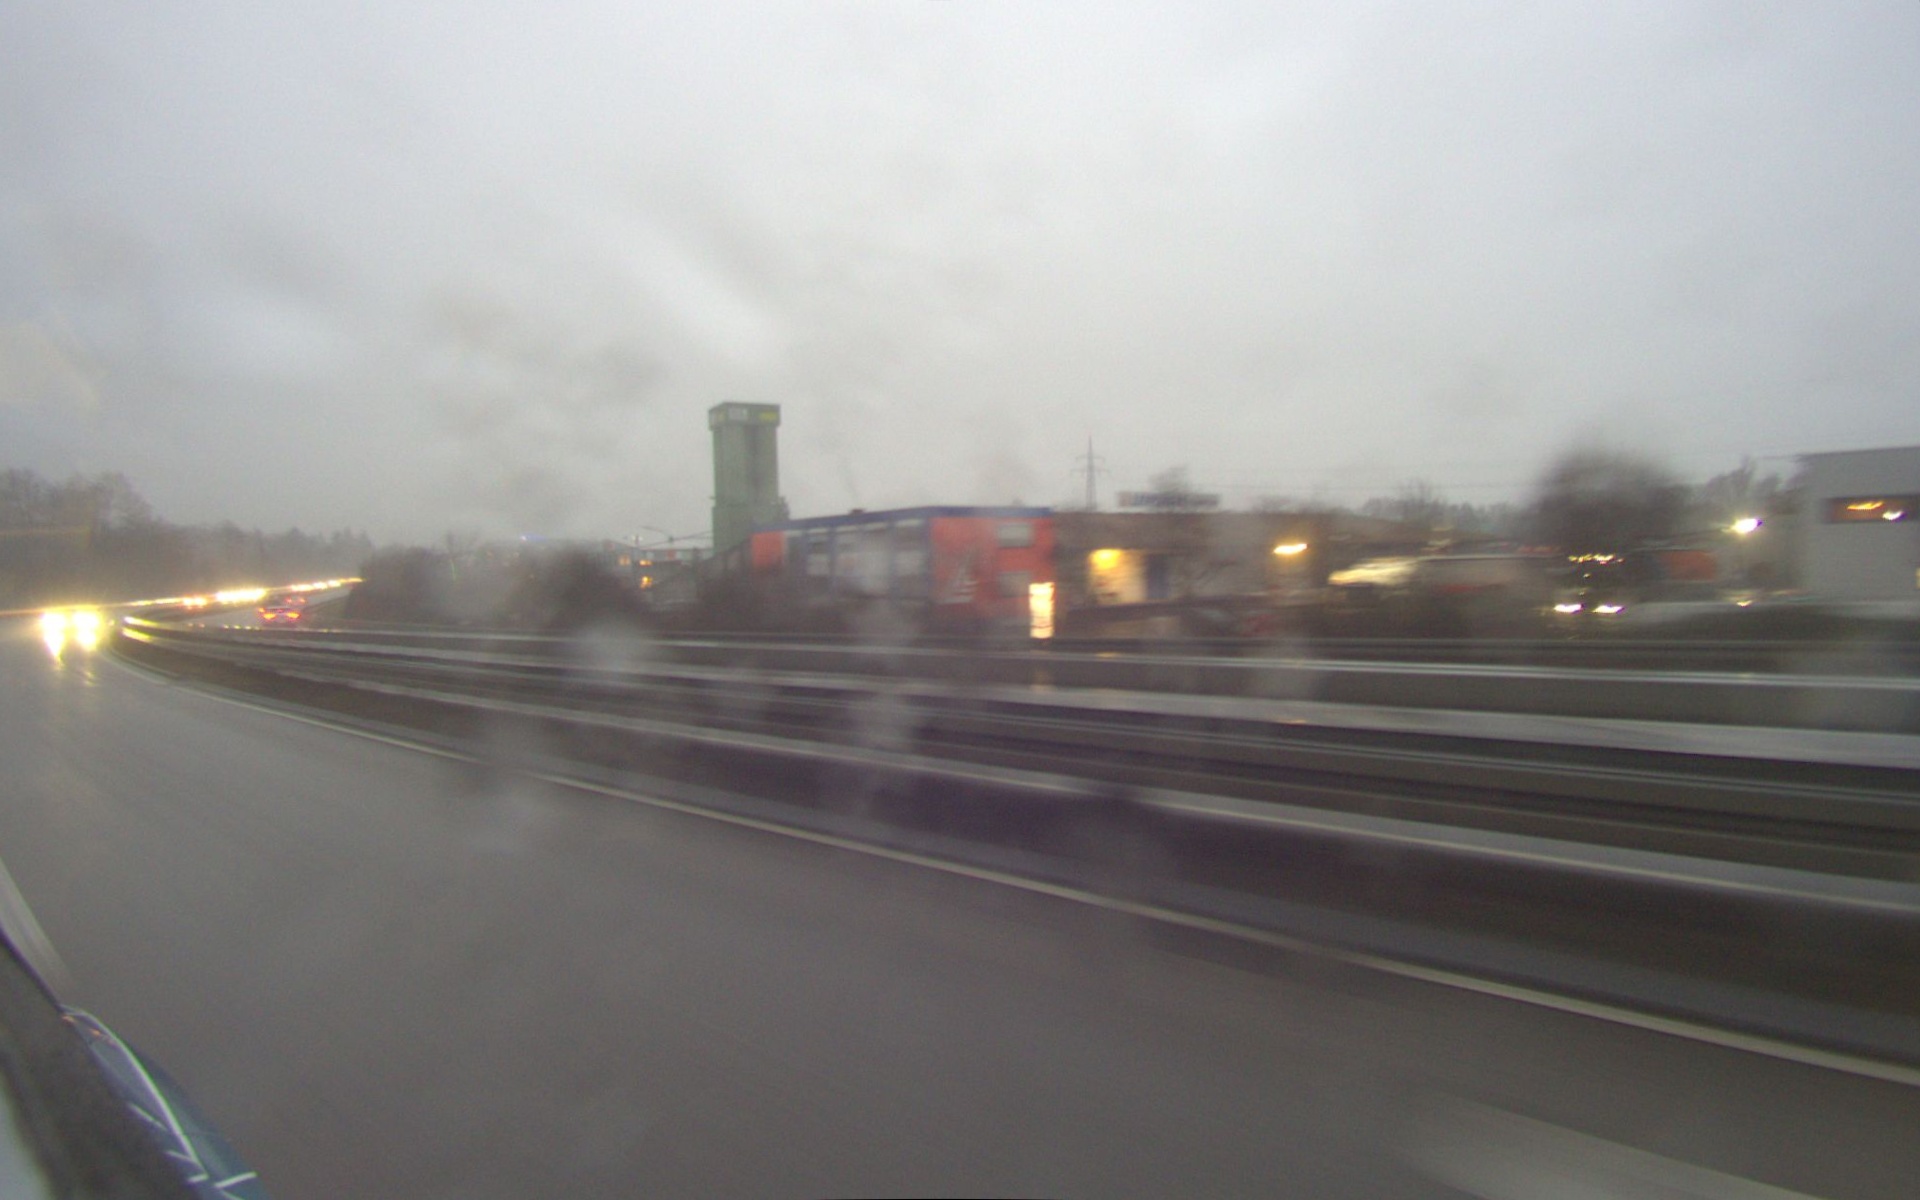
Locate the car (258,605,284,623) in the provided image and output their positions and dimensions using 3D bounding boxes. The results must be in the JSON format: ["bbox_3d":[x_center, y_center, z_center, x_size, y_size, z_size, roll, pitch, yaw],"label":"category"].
[{"bbox_3d":[-66.553,1.301,97.768,1.967,1.685,4.439,0,0,-36],"label":"car"}]

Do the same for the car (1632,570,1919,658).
[{"bbox_3d":[20.697,0.355,25.253,6.472,2.029,1.978,-1,-1,33],"label":"car"}]

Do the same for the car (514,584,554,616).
[{"bbox_3d":[-44.632,-0.007,105.930,3.147,3.235,9.971,1,0,-27],"label":"car"}]

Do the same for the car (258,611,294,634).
[{"bbox_3d":[-44.505,1.458,65.837,1.650,1.431,4.089,0,0,-39],"label":"car"}]

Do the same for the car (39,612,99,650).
[{"bbox_3d":[-55.326,1.889,62.918,1.966,2.028,4.012,-4,2,-30],"label":"car"}]
